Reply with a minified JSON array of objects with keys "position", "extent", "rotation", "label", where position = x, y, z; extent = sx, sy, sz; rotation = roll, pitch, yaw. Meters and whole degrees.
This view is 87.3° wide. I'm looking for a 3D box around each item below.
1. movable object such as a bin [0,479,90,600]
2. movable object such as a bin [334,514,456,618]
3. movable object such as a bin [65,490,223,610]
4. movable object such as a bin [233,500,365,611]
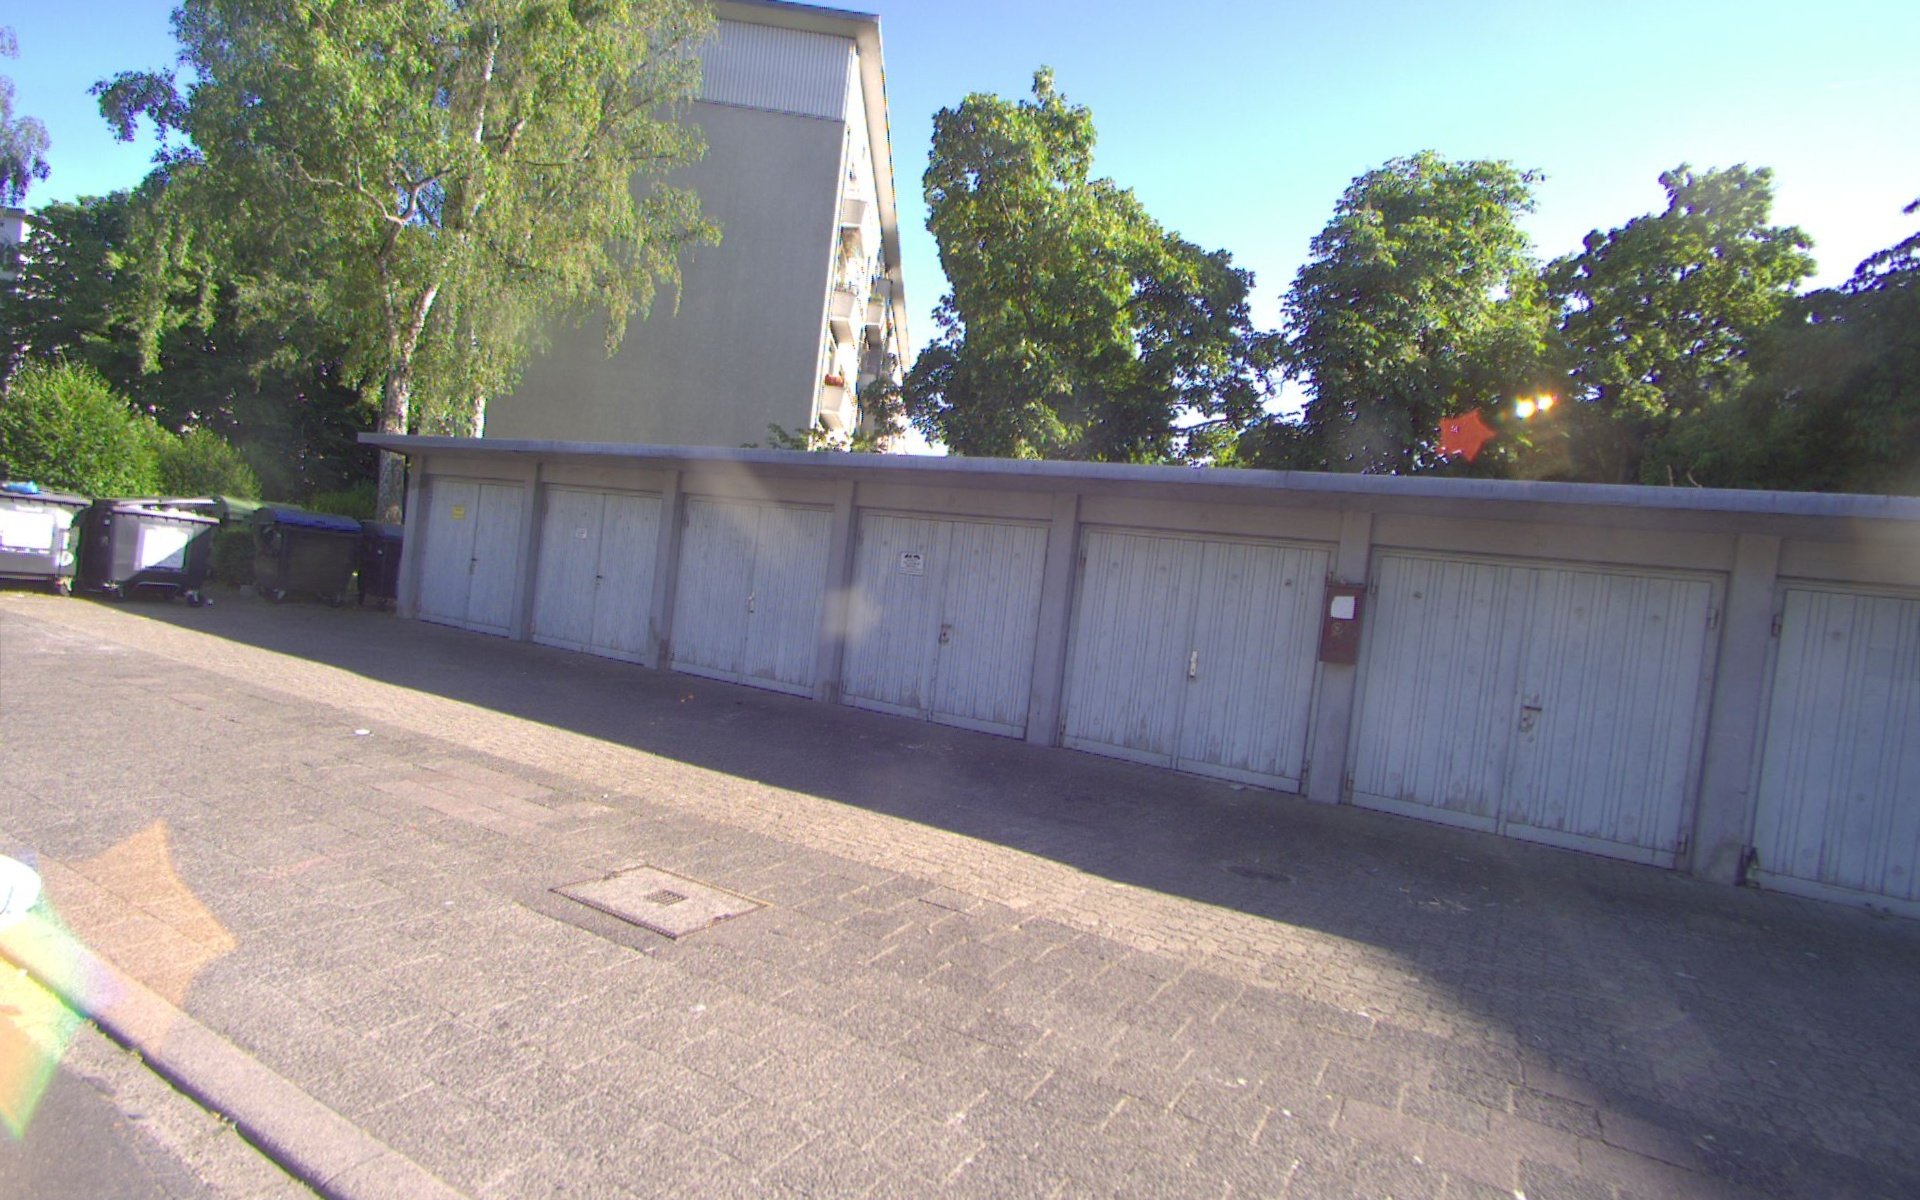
[{"position":[-11.837,-0.788,12.492],"extent":[1.114,1.382,1.224],"rotation":[7,1,33],"label":"movable object such as a bin"},{"position":[-9.534,-0.557,16.998],"extent":[1.114,1.485,1.277],"rotation":[12,3,33],"label":"movable object such as a bin"},{"position":[-10.875,-0.648,13.422],"extent":[1.114,1.382,1.277],"rotation":[7,1,33],"label":"movable object such as a bin"},{"position":[-10.480,-0.692,15.961],"extent":[1.114,1.485,1.277],"rotation":[12,3,33],"label":"movable object such as a bin"}]
